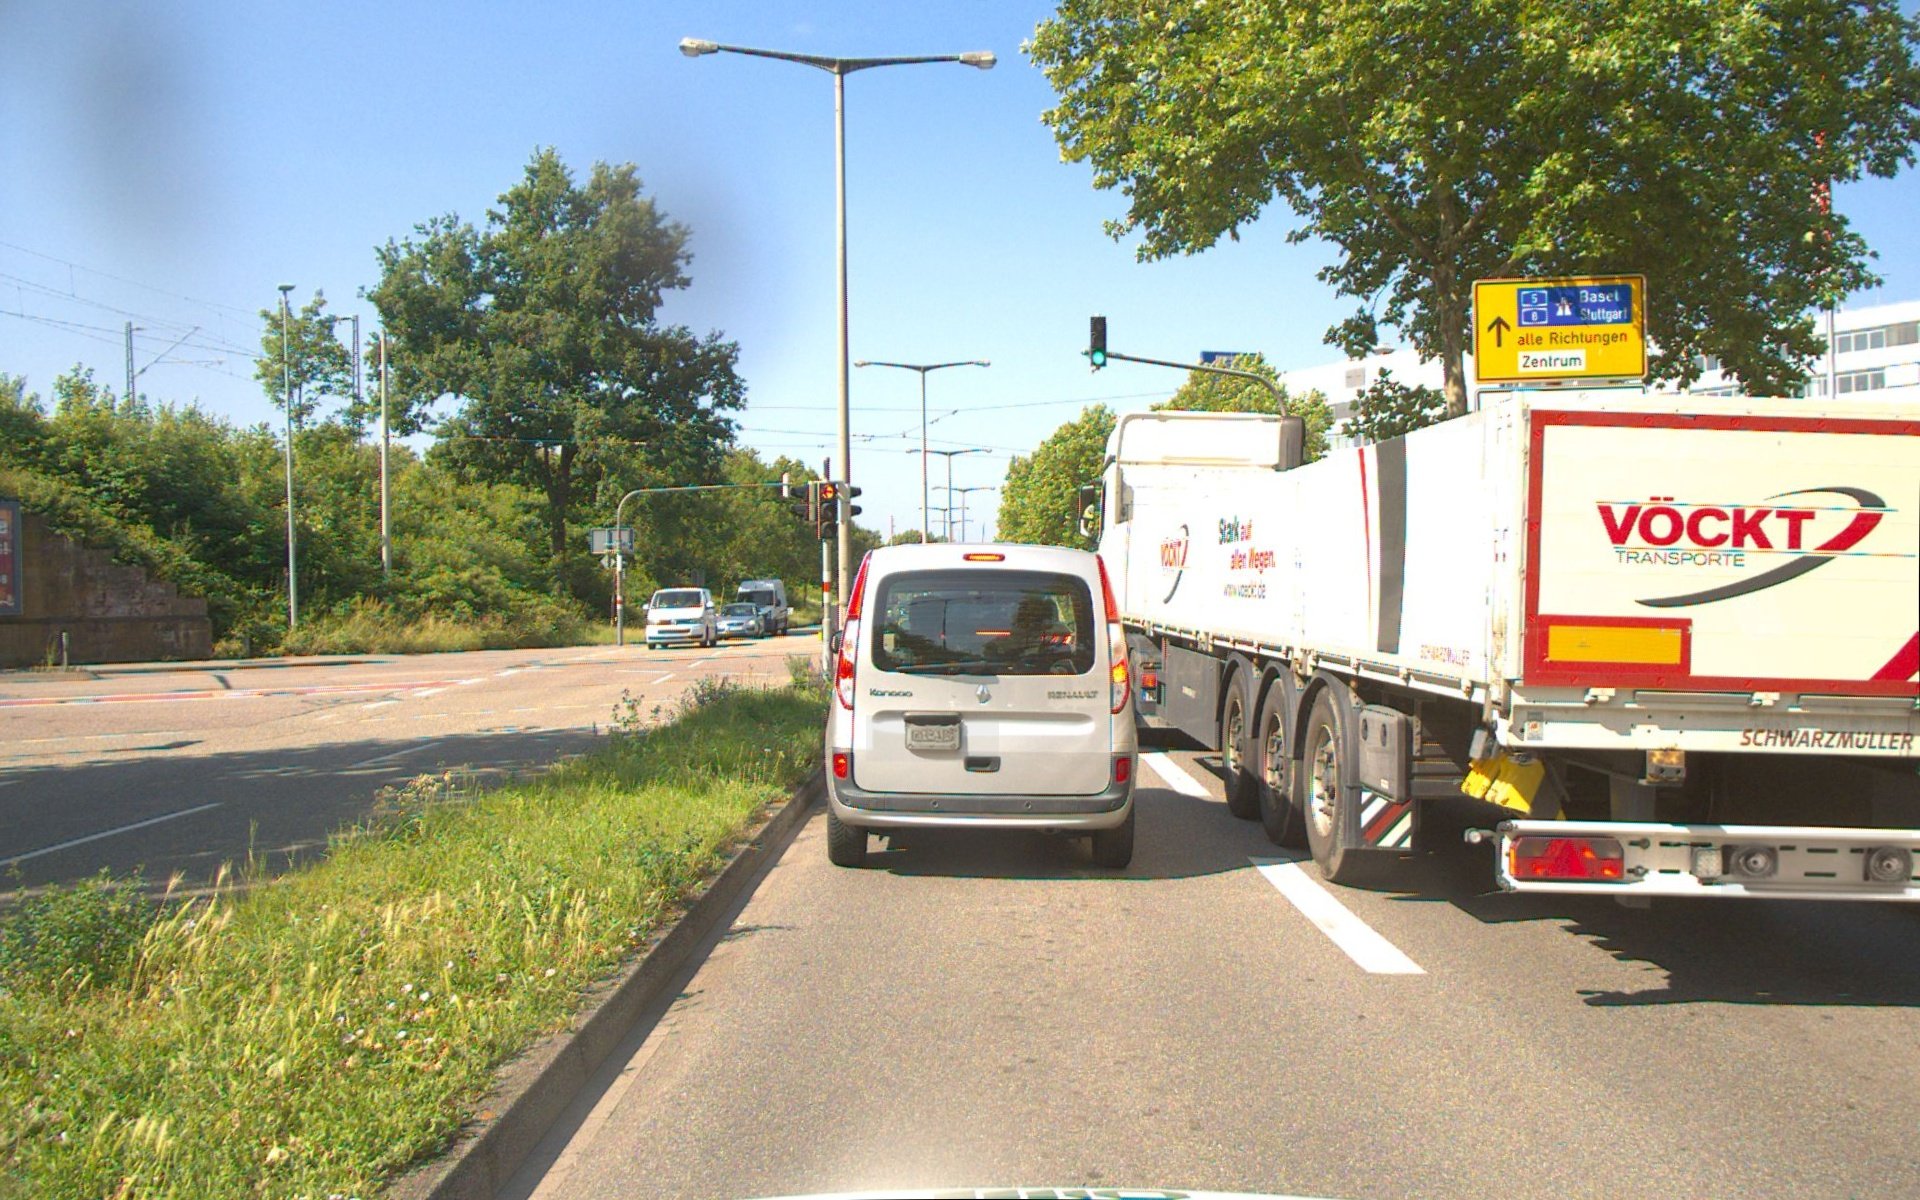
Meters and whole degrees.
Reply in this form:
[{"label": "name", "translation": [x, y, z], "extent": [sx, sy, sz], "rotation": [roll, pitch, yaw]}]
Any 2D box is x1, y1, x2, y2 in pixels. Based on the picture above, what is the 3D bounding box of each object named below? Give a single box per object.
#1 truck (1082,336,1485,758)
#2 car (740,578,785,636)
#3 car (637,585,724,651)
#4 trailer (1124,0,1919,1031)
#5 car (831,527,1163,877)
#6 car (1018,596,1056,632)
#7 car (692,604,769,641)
[{"label": "truck", "translation": [3.231, -0.467, 18.804], "extent": [3.009, 3.824, 7.474], "rotation": [0, 0, -1]}, {"label": "car", "translation": [-9.314, 0.333, 78.418], "extent": [2.019, 2.660, 5.861], "rotation": [0, 0, -6]}, {"label": "car", "translation": [-8.887, 0.552, 52.970], "extent": [1.953, 1.924, 4.986], "rotation": [-3, 0, -1]}, {"label": "trailer", "translation": [3.233, -0.438, 11.684], "extent": [2.954, 3.806, 12.239], "rotation": [0, 0, 0]}, {"label": "car", "translation": [0.175, 0.537, 10.552], "extent": [1.713, 1.803, 3.949], "rotation": [0, 0, -1]}, {"label": "car", "translation": [4.468, 0.818, 95.982], "extent": [1.953, 2.049, 3.999], "rotation": [0, 0, -1]}, {"label": "car", "translation": [-9.389, 0.884, 67.372], "extent": [1.888, 1.433, 4.191], "rotation": [0, 0, -27]}]
